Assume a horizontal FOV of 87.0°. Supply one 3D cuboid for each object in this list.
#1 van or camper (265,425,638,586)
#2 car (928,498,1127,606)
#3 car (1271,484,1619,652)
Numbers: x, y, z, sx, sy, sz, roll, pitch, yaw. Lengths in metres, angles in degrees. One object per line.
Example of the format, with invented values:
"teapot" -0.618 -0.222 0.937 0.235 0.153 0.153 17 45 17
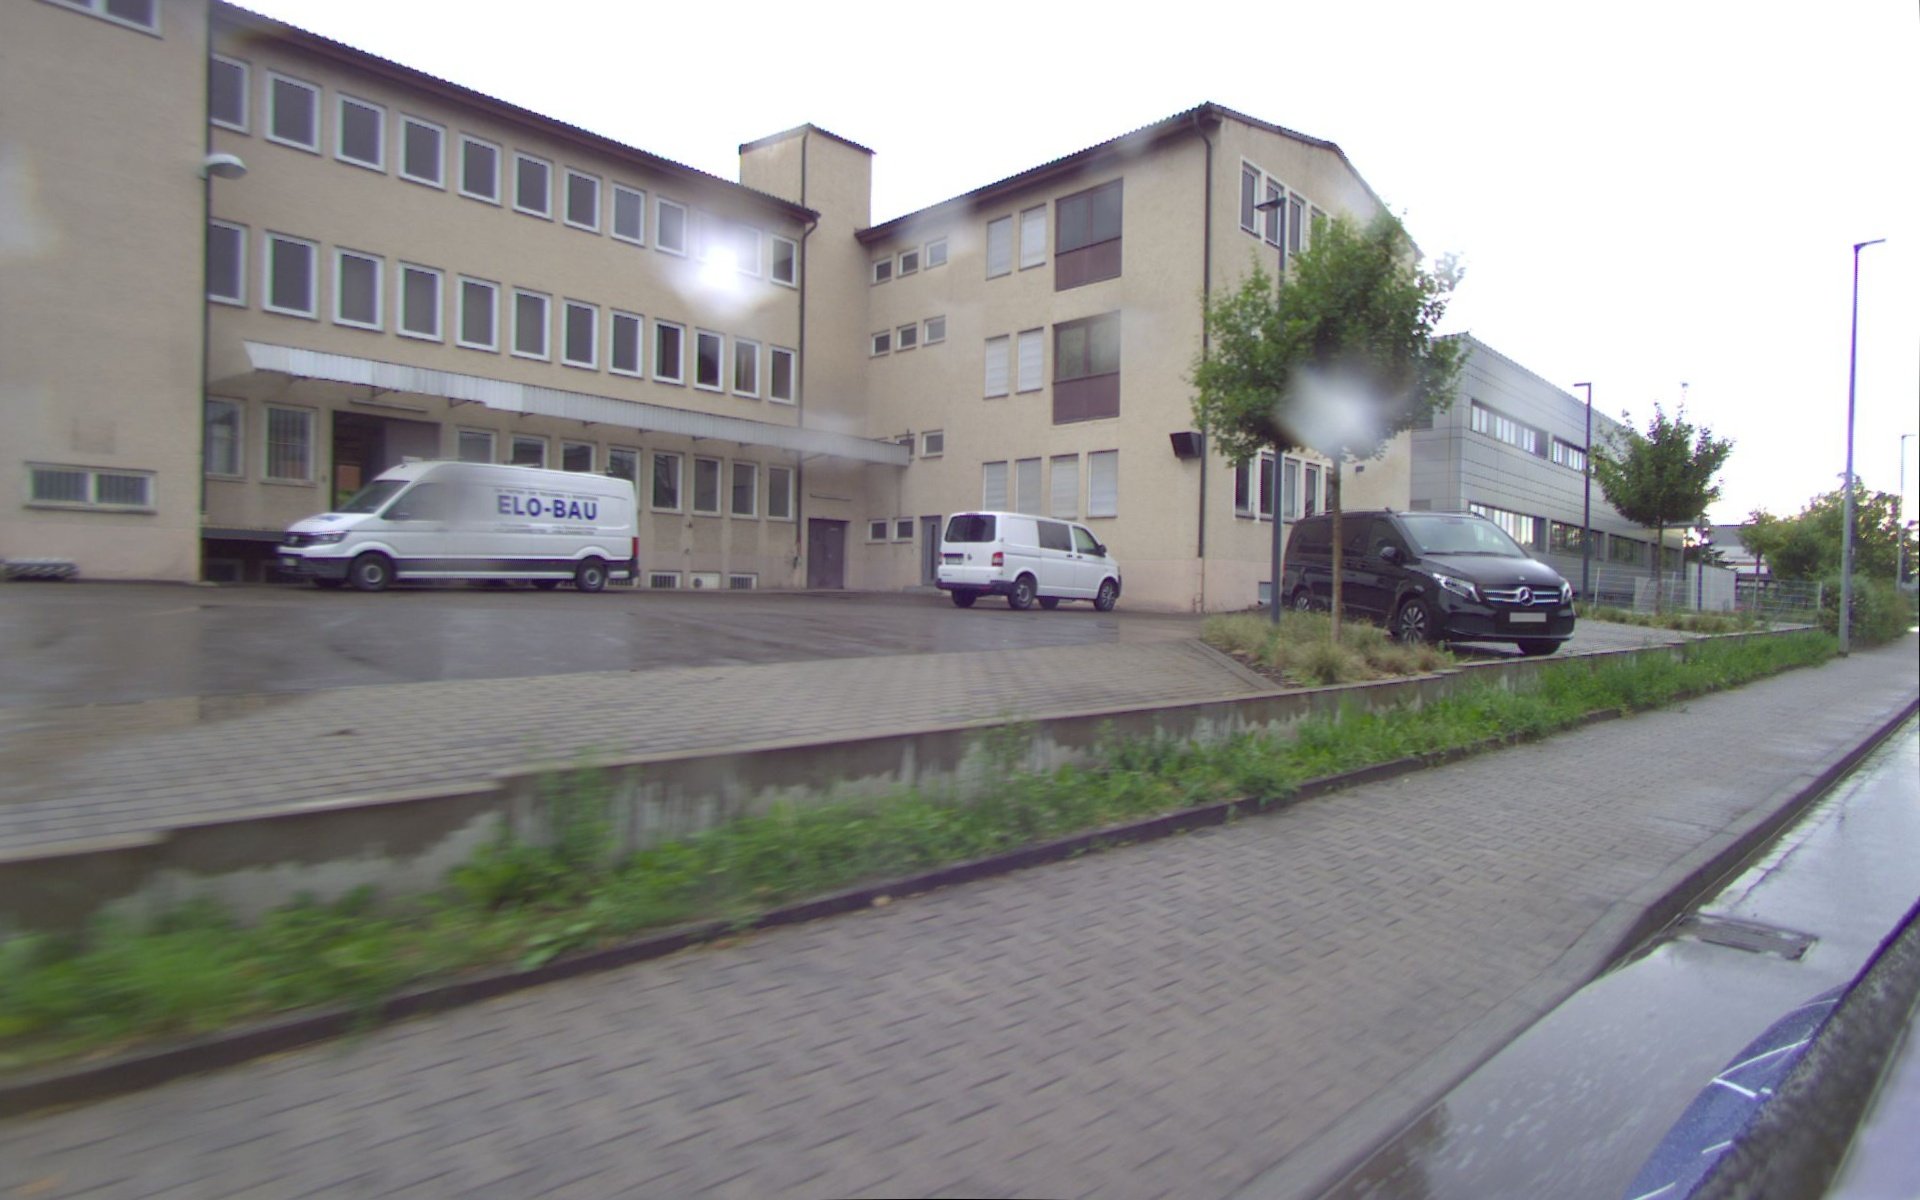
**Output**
"van or camper" -9.826 -1.641 20.325 1.988 2.569 6.517 0 0 36
"car" 1.555 -0.964 21.939 1.794 2.039 4.528 3 1 43
"car" 6.520 -0.504 14.494 2.012 1.942 5.125 1 3 -6
